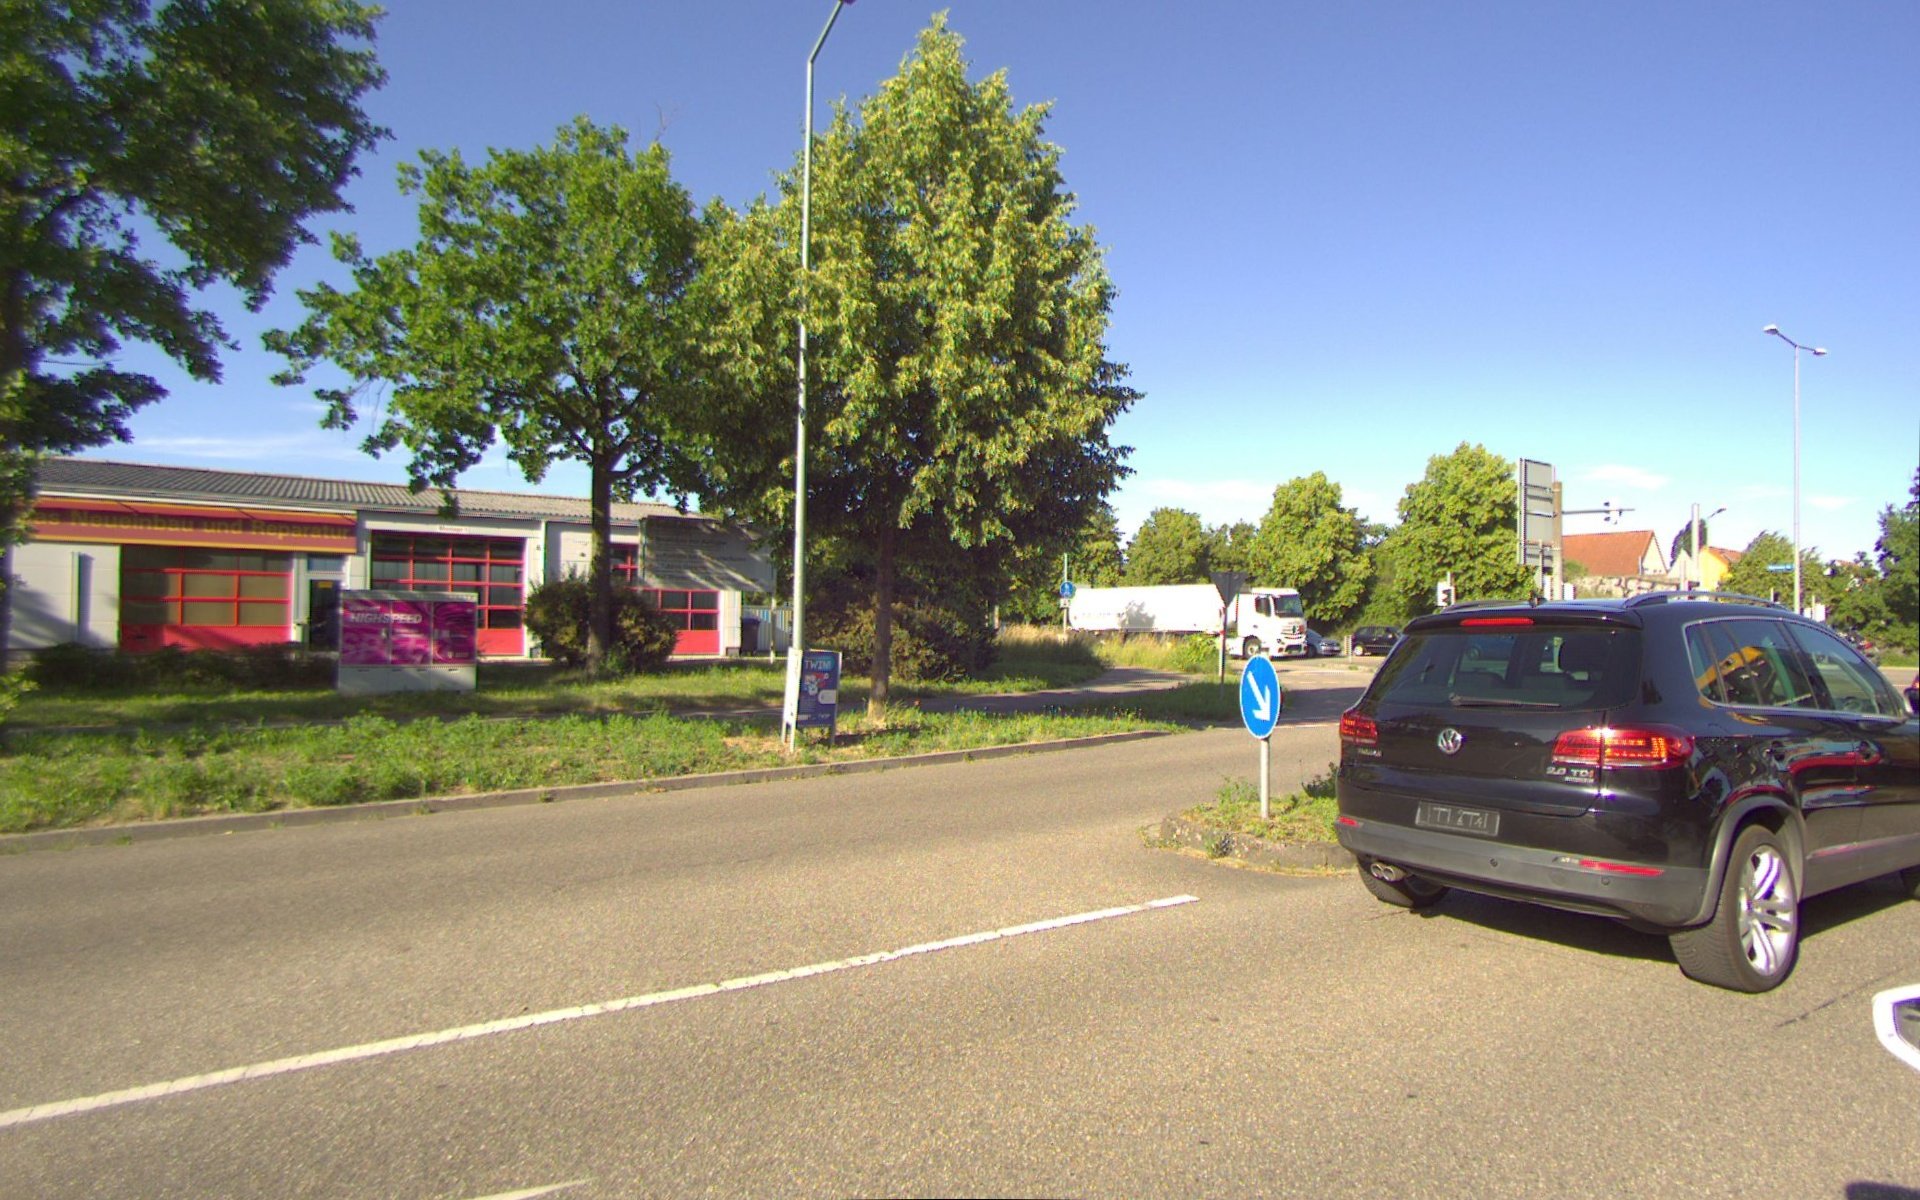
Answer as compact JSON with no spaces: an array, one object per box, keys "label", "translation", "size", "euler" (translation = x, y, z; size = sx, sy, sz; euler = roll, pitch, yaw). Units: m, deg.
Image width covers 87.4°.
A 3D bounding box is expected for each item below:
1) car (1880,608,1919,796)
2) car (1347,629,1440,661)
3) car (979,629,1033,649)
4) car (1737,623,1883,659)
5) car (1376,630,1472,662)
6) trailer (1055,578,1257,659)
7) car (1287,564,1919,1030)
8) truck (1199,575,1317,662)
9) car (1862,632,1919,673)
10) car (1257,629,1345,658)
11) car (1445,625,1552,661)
[{"label":"car","translation":[10.430,0.886,9.304],"size":[3.986,1.642,1.745],"euler":[0,-1,-31]},{"label":"car","translation":[20.563,2.103,47.808],"size":[1.494,1.330,3.817],"euler":[2,-1,-38]},{"label":"car","translation":[3.779,3.191,82.900],"size":[1.980,1.560,4.671],"euler":[1,-1,-35]},{"label":"car","translation":[34.194,1.631,40.514],"size":[1.558,1.319,4.264],"euler":[1,-1,-32]},{"label":"car","translation":[24.490,2.428,53.102],"size":[1.560,1.479,4.381],"euler":[2,-1,-37]},{"label":"trailer","translation":[9.672,0.921,51.551],"size":[2.375,3.745,11.385],"euler":[1,-1,-39]},{"label":"car","translation":[3.855,0.818,5.477],"size":[3.957,1.695,1.812],"euler":[2,-3,-31]},{"label":"truck","translation":[13.668,0.858,46.279],"size":[2.387,3.744,4.768],"euler":[1,-1,-36]},{"label":"car","translation":[40.093,2.188,41.509],"size":[1.678,1.633,3.961],"euler":[1,-1,-35]},{"label":"car","translation":[16.388,2.079,48.382],"size":[1.494,1.330,3.817],"euler":[2,-2,-38]},{"label":"car","translation":[23.576,1.866,44.078],"size":[1.668,1.403,3.817],"euler":[2,-1,-38]}]
